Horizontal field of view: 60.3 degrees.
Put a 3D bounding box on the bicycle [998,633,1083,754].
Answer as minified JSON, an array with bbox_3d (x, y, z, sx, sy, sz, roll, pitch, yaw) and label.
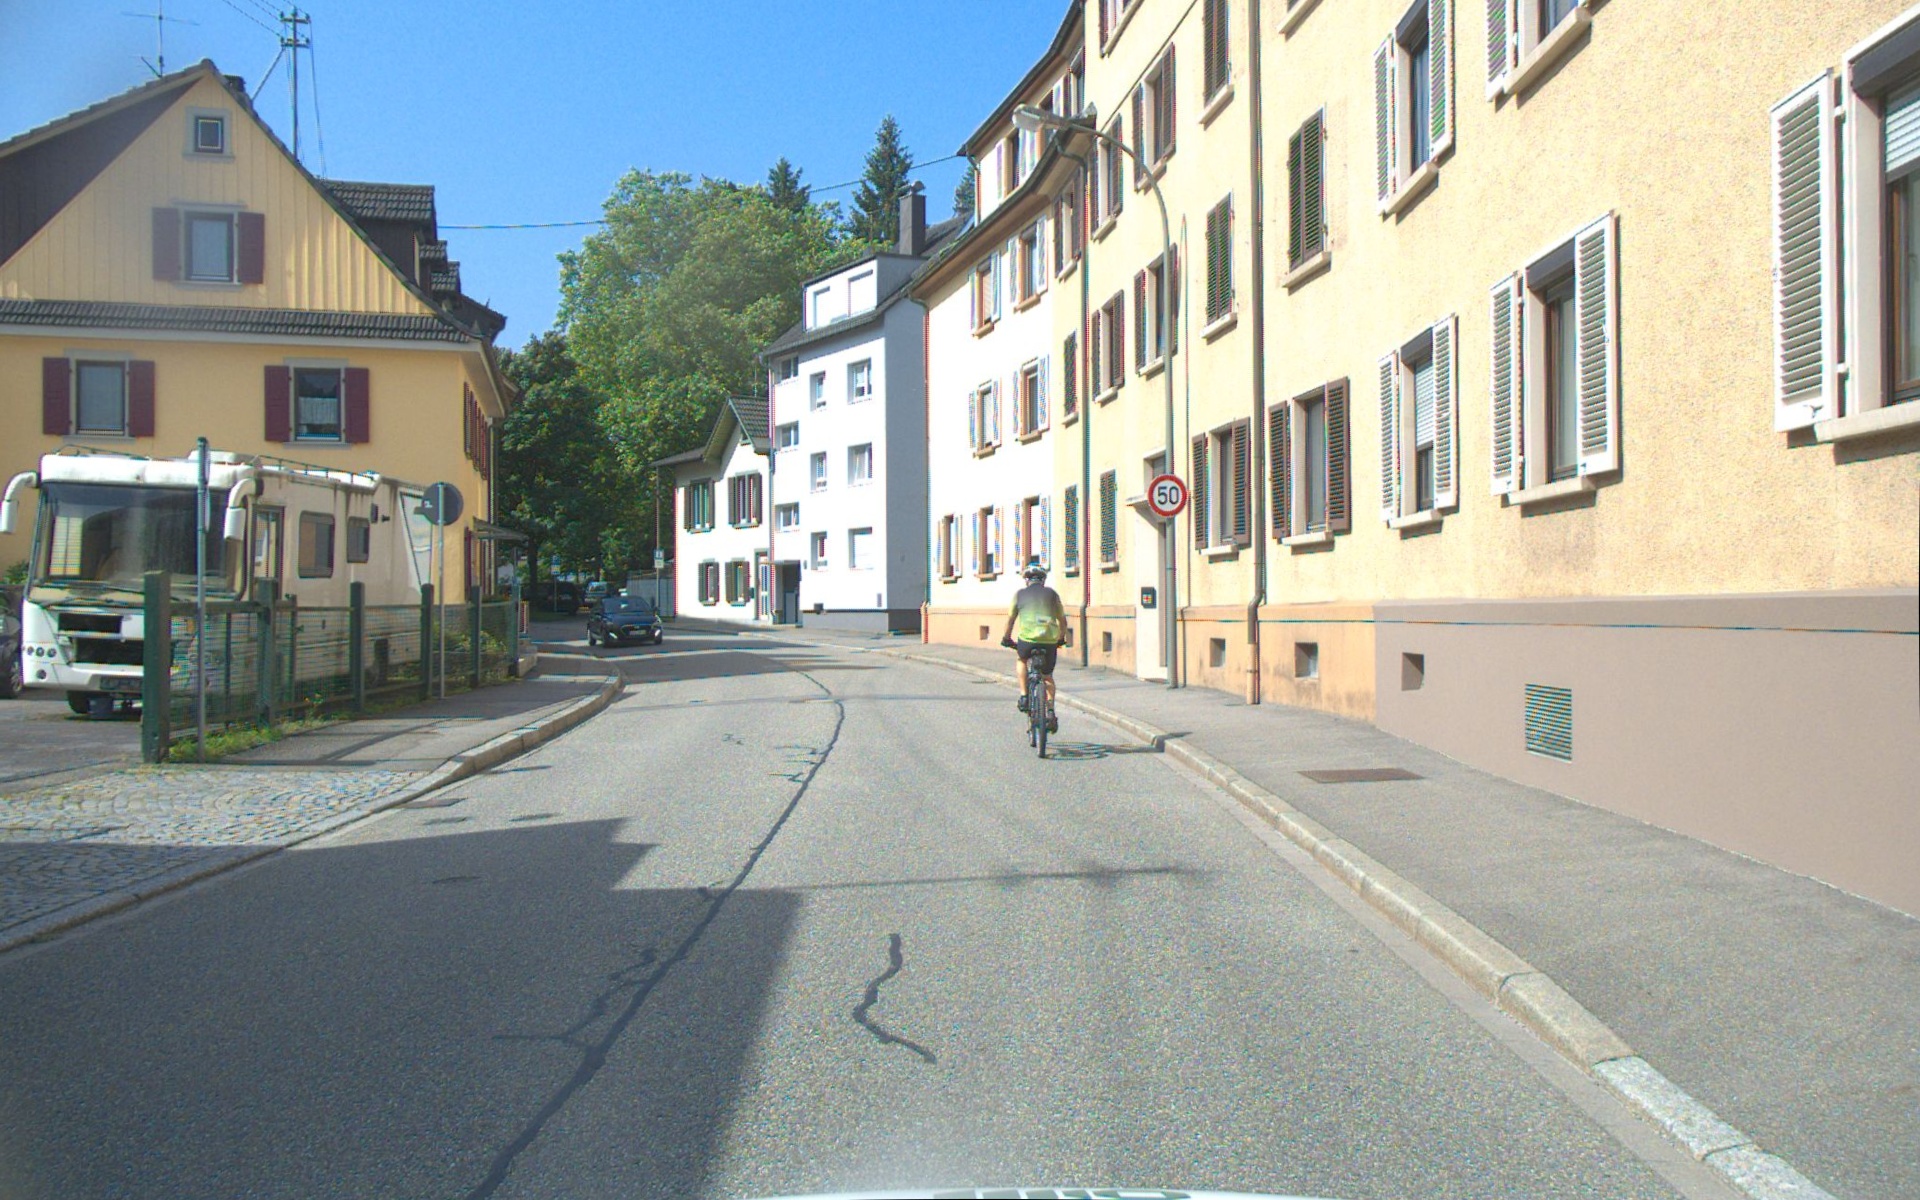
[{"bbox_3d":[0.746,0.868,15.731,0.684,1.053,1.470,0,0,-2],"label":"bicycle"}]

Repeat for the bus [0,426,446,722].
[{"bbox_3d":[-9.725,-0.305,23.080,2.764,3.284,9.029,1,0,-3],"label":"bus"}]

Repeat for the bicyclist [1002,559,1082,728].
[{"bbox_3d":[0.767,0.403,15.708,0.672,1.558,0.715,-1,0,-2],"label":"bicyclist"}]

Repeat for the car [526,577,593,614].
[{"bbox_3d":[-20.849,-0.262,86.029,1.812,1.822,3.941,-2,2,-41],"label":"car"}]

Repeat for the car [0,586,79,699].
[{"bbox_3d":[-13.645,0.532,23.052,1.738,1.457,3.978,1,0,-19],"label":"car"}]

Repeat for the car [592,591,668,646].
[{"bbox_3d":[-10.091,0.536,50.378,1.721,1.478,4.006,-4,1,-18],"label":"car"}]
